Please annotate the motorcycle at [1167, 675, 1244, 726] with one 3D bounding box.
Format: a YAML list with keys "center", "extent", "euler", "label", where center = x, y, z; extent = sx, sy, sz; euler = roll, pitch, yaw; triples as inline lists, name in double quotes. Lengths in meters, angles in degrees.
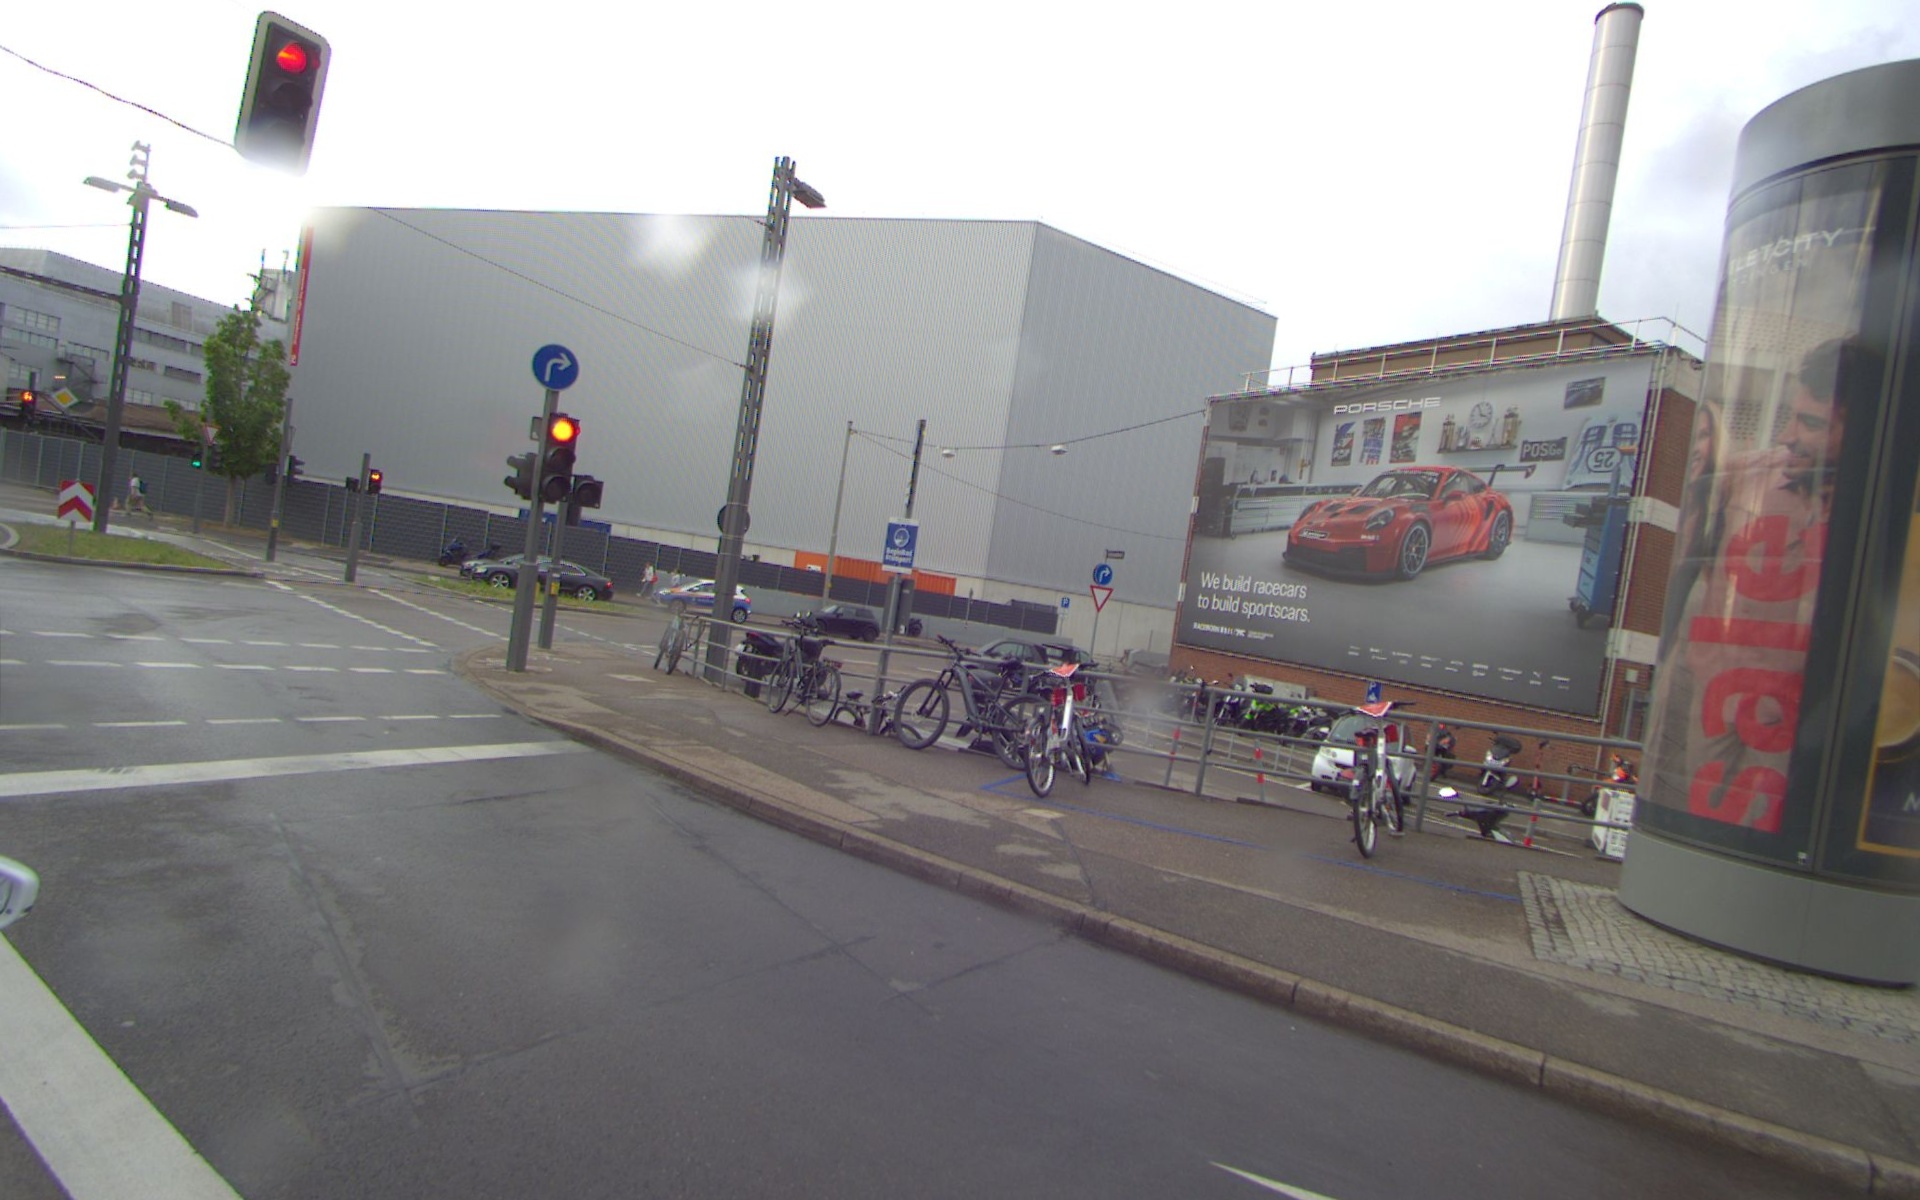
- center: [6.723, 2.757, 27.561]
  extent: [1.997, 1.206, 0.605]
  euler: [6, 3, -26]
  label: "motorcycle"

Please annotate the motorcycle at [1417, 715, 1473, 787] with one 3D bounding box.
- center: [10.916, 3.360, 22.601]
  extent: [0.677, 1.327, 2.016]
  euler: [10, 3, 34]
  label: "motorcycle"

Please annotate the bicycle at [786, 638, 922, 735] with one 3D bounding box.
- center: [-1.300, 1.021, 12.104]
  extent: [1.790, 0.916, 0.530]
  euler: [6, -1, 45]
  label: "bicycle"

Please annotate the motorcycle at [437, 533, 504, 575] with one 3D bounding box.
- center: [-20.137, -1.901, 41.426]
  extent: [2.334, 1.360, 0.648]
  euler: [8, 0, -30]
  label: "motorcycle"

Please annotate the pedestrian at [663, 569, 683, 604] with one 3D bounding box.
- center: [-12.840, -0.598, 44.943]
  extent: [0.642, 1.499, 0.436]
  euler: [7, 0, -24]
  label: "pedestrian"

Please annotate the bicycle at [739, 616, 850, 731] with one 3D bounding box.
- center: [-1.979, 0.834, 11.842]
  extent: [0.383, 1.133, 1.731]
  euler: [6, 0, -39]
  label: "bicycle"

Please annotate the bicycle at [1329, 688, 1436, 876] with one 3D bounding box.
- center: [3.333, 1.350, 7.936]
  extent: [0.581, 1.176, 1.804]
  euler: [6, 0, 23]
  label: "bicycle"

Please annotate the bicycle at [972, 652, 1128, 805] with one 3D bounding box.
- center: [0.852, 1.097, 8.990]
  extent: [0.666, 1.154, 1.773]
  euler: [6, -1, 27]
  label: "bicycle"

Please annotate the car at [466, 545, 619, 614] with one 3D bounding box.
- center: [-14.225, -0.690, 34.315]
  extent: [4.535, 1.557, 1.744]
  euler: [10, 0, -28]
  label: "car"

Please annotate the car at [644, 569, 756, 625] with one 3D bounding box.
- center: [-10.543, -0.109, 40.833]
  extent: [3.938, 1.620, 1.898]
  euler: [9, -1, -28]
  label: "car"

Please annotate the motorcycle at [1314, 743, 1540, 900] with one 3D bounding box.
- center: [4.252, 2.000, 9.300]
  extent: [1.718, 1.002, 0.699]
  euler: [8, 0, 22]
  label: "motorcycle"

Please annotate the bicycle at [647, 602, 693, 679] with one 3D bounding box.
- center: [-4.817, 0.636, 16.653]
  extent: [0.381, 1.111, 1.740]
  euler: [6, 0, -24]
  label: "bicycle"

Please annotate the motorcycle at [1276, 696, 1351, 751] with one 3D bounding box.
- center: [8.708, 3.032, 24.744]
  extent: [2.005, 1.206, 0.603]
  euler: [6, 4, -38]
  label: "motorcycle"

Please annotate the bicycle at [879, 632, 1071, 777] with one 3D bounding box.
- center: [0.115, 1.022, 10.210]
  extent: [1.970, 1.176, 0.385]
  euler: [6, 0, 35]
  label: "bicycle"

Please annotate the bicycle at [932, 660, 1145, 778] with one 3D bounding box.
- center: [0.819, 1.241, 10.850]
  extent: [2.139, 0.916, 0.693]
  euler: [6, -1, 32]
  label: "bicycle"

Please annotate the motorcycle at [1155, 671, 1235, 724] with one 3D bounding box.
- center: [6.693, 2.768, 28.684]
  extent: [1.986, 1.206, 0.608]
  euler: [7, 3, -4]
  label: "motorcycle"

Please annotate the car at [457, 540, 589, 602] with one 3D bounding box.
- center: [-16.180, -1.061, 37.303]
  extent: [4.252, 1.558, 1.745]
  euler: [10, 0, -28]
  label: "car"

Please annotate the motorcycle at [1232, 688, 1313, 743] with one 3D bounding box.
- center: [7.923, 2.924, 25.492]
  extent: [1.999, 1.206, 0.605]
  euler: [6, 3, -28]
  label: "motorcycle"

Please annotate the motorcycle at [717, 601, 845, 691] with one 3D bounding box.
- center: [-3.334, 0.895, 18.971]
  extent: [0.746, 1.470, 2.224]
  euler: [8, 0, 43]
  label: "motorcycle"

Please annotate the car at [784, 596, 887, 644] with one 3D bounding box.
- center: [-5.408, 0.894, 43.776]
  extent: [3.957, 1.408, 1.745]
  euler: [10, 0, -28]
  label: "car"

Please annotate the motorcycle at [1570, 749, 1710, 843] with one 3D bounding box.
- center: [13.442, 3.835, 19.934]
  extent: [0.922, 1.327, 1.961]
  euler: [5, 4, -40]
  label: "motorcycle"

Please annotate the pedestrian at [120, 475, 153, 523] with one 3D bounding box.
- center: [-30.670, -3.754, 37.459]
  extent: [0.804, 1.630, 0.760]
  euler: [6, 0, -41]
  label: "pedestrian"

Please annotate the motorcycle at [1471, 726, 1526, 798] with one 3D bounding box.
- center: [11.653, 3.470, 21.732]
  extent: [0.564, 1.327, 1.863]
  euler: [10, 4, 38]
  label: "motorcycle"

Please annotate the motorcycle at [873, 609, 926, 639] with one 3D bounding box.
- center: [-3.124, 1.254, 52.222]
  extent: [2.470, 1.201, 0.991]
  euler: [8, 0, -33]
  label: "motorcycle"

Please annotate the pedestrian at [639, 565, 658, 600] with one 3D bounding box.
- center: [-13.866, -0.781, 44.746]
  extent: [0.605, 1.499, 0.421]
  euler: [7, 0, -22]
  label: "pedestrian"

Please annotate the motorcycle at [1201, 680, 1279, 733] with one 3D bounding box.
- center: [7.406, 2.831, 26.575]
  extent: [1.999, 1.206, 0.605]
  euler: [6, 3, -28]
  label: "motorcycle"

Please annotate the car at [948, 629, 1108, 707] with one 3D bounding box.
- center: [1.833, 1.859, 28.045]
  extent: [4.091, 1.547, 1.836]
  euler: [8, -2, -3]
  label: "car"

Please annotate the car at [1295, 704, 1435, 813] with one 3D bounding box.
- center: [7.760, 2.904, 19.100]
  extent: [1.665, 1.500, 3.554]
  euler: [10, 1, 32]
  label: "car"
